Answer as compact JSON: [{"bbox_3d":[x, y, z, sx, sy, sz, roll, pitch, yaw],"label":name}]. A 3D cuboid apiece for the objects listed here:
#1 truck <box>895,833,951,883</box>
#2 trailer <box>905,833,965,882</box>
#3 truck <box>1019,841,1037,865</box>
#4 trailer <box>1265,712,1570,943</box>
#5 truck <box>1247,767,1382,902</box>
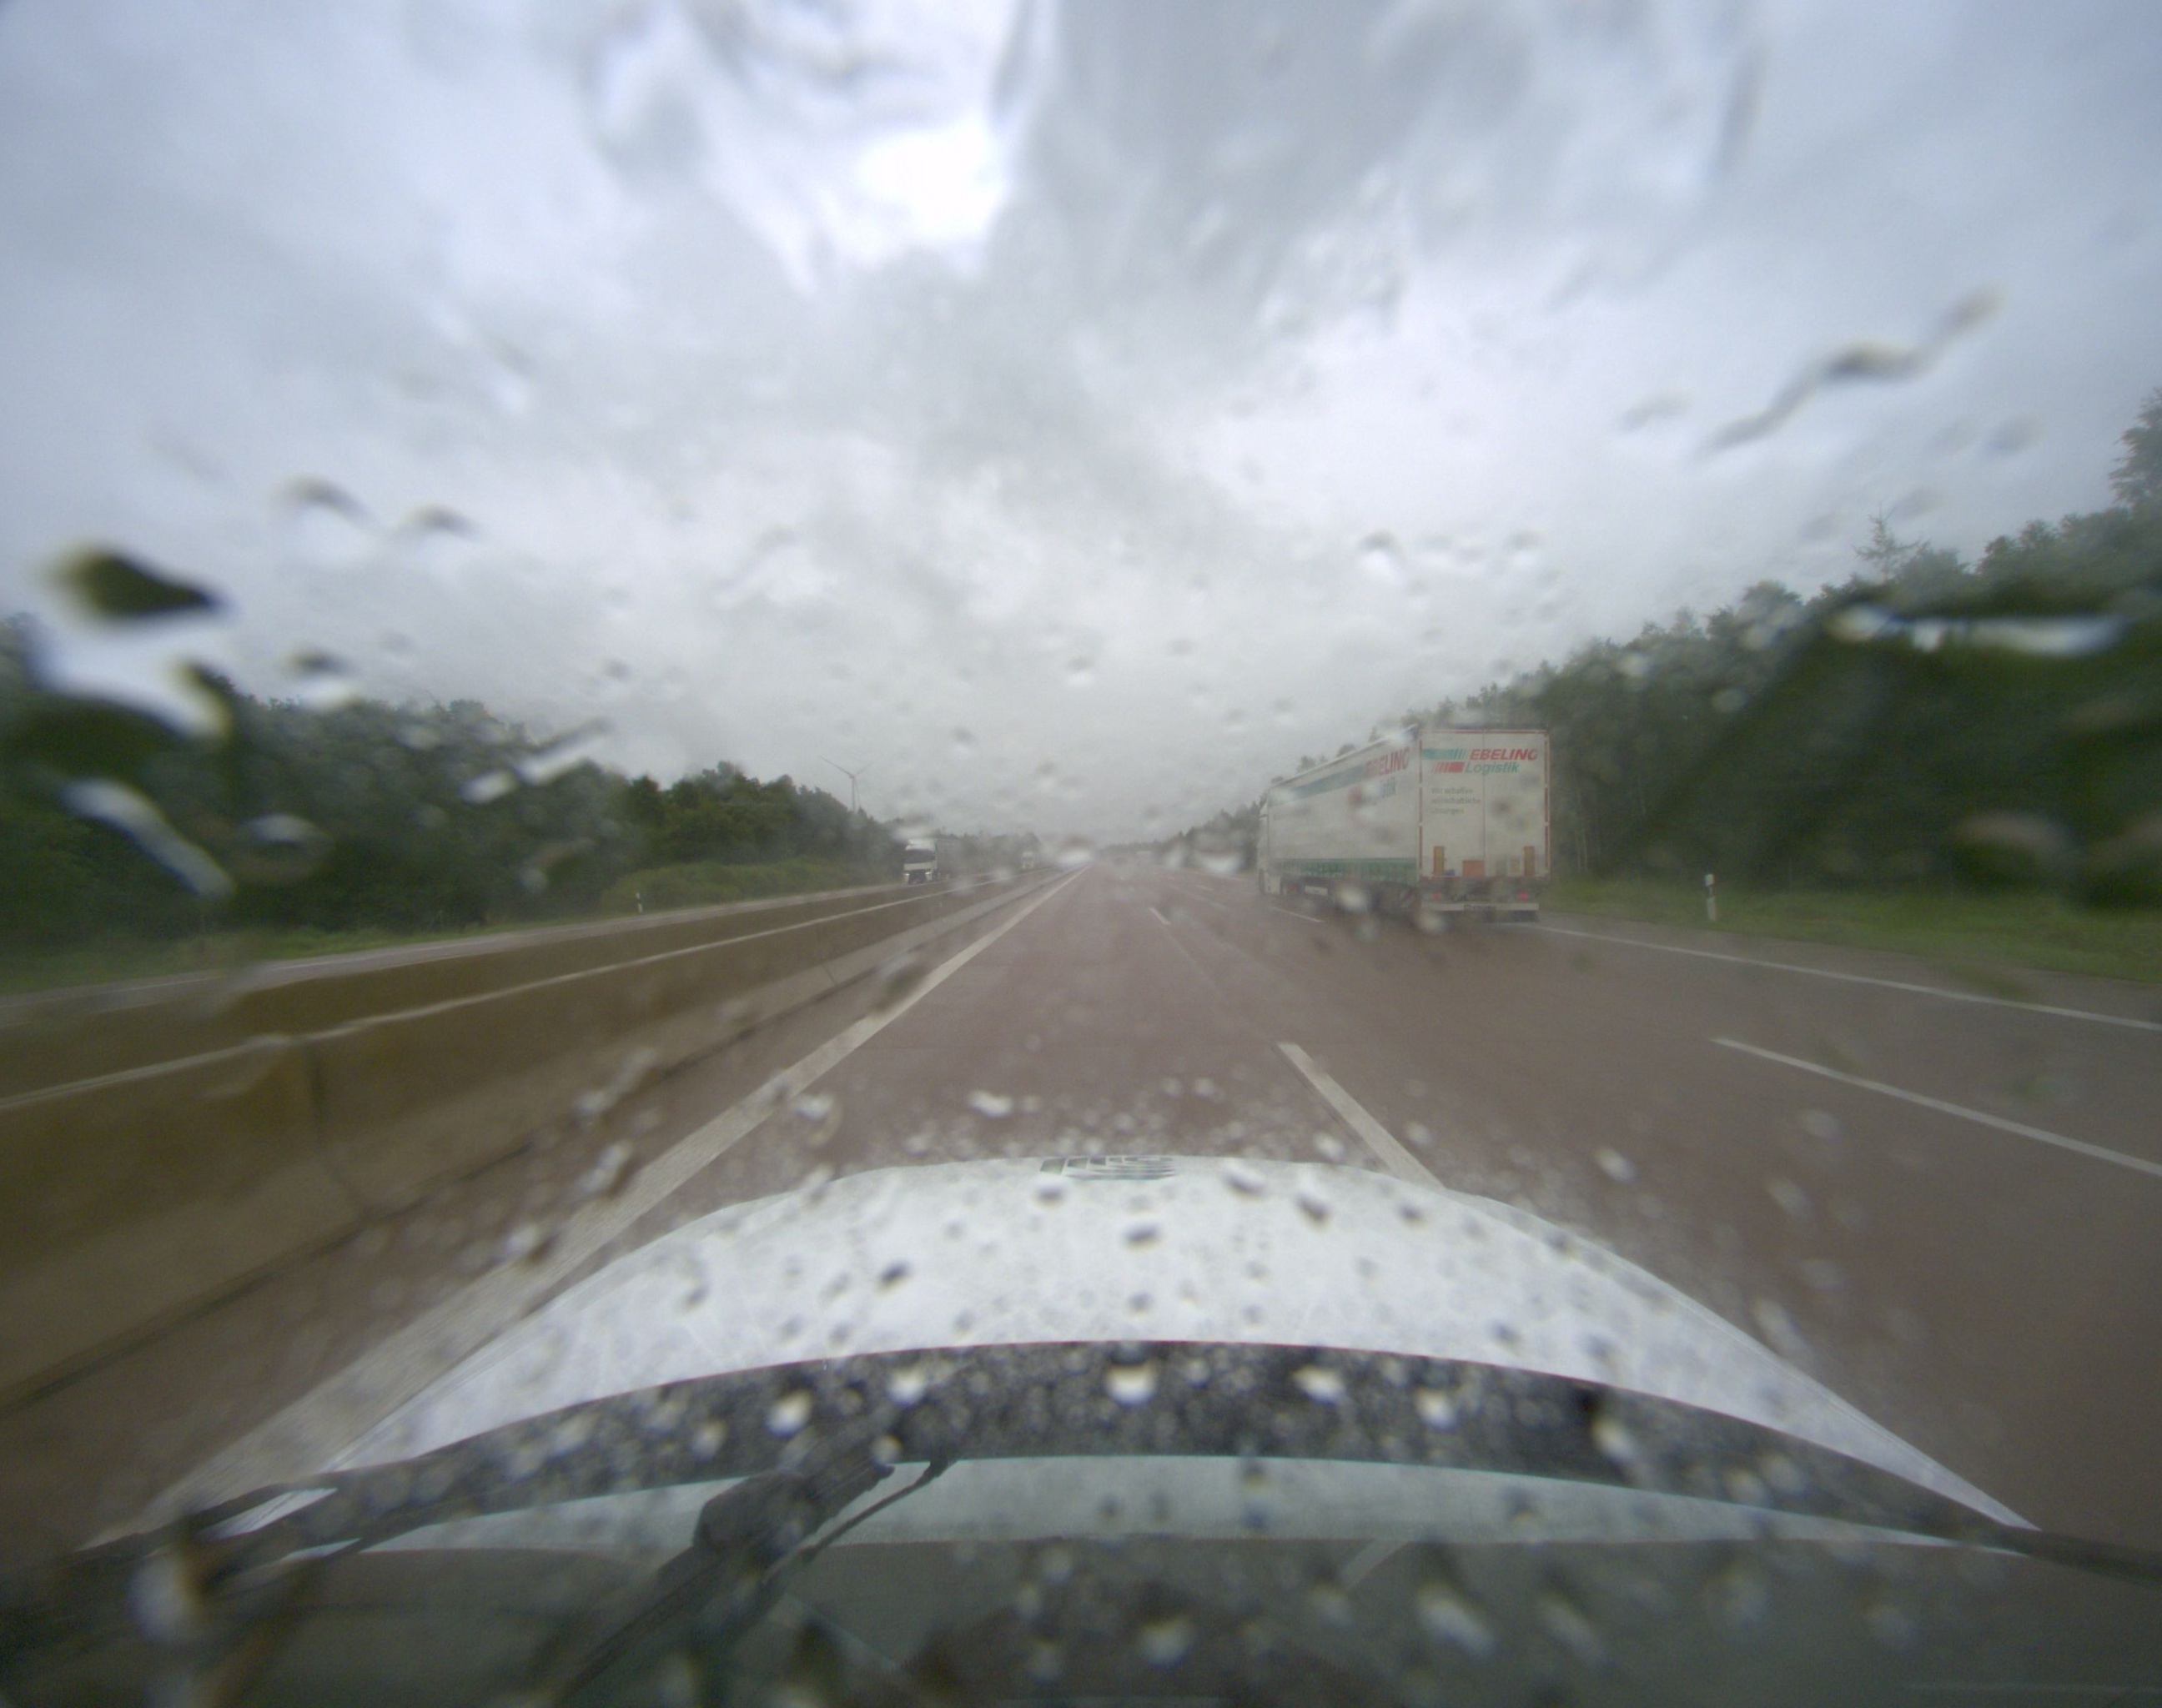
[{"bbox_3d":[-14.457,0.353,75.312,3.407,4.360,7.948,0,-1,1],"label":"truck"},{"bbox_3d":[-14.302,0.374,81.082,3.417,4.466,12.449,0,-1,2],"label":"trailer"},{"bbox_3d":[-12.135,-0.077,187.284,3.407,5.379,8.159,0,-1,1],"label":"truck"},{"bbox_3d":[7.842,-0.537,21.941,2.842,4.231,13.134,-3,0,1],"label":"trailer"},{"bbox_3d":[7.968,-0.623,28.653,2.870,4.106,6.351,-3,0,1],"label":"truck"}]
